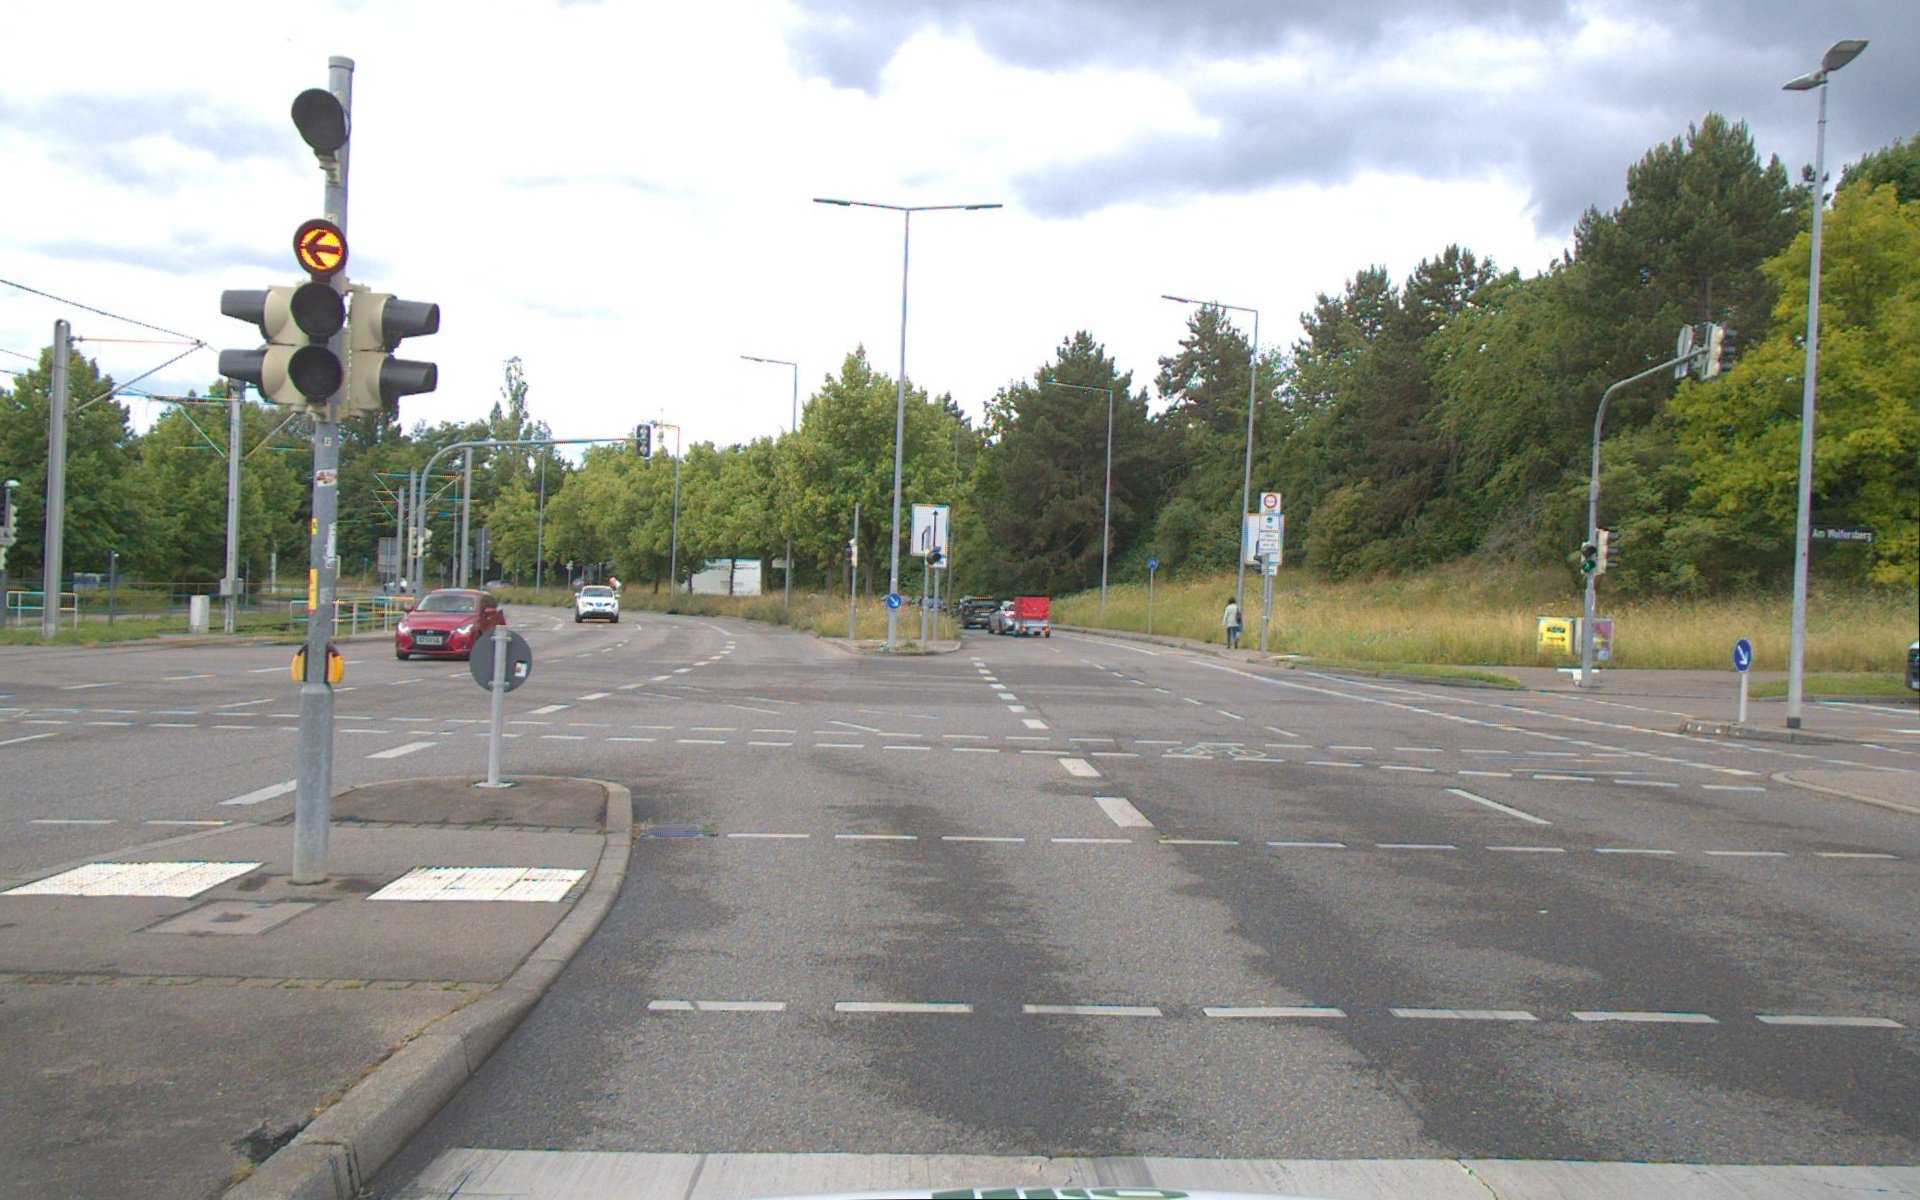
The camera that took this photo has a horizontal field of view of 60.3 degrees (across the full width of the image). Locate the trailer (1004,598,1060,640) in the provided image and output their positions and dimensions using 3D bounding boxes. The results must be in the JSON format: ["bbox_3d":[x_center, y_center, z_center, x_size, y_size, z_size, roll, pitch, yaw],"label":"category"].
[{"bbox_3d":[2.958,0.763,68.534,1.732,1.644,3.038,1,0,-9],"label":"trailer"}]

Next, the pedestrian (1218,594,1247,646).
[{"bbox_3d":[8.831,0.640,53.627,0.797,1.656,0.790,1,0,-1],"label":"pedestrian"}]

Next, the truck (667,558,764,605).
[{"bbox_3d":[-18.882,-1.458,126.895,2.716,3.387,11.269,1,0,-34],"label":"truck"}]

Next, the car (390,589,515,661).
[{"bbox_3d":[-10.950,0.500,35.968,1.746,1.468,4.420,0,0,-6],"label":"car"}]

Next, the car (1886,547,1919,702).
[{"bbox_3d":[20.337,0.466,30.096,5.772,2.830,2.135,0,0,-1],"label":"car"}]

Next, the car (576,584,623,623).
[{"bbox_3d":[-15.616,0.143,71.725,1.795,1.657,4.415,0,0,-10],"label":"car"}]

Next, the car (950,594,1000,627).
[{"bbox_3d":[0.732,0.521,82.832,1.746,1.573,4.014,1,0,-11],"label":"car"}]

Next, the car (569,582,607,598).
[{"bbox_3d":[-38.088,-1.025,169.385,1.742,1.573,4.024,1,0,22],"label":"car"}]

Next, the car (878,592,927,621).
[{"bbox_3d":[-3.472,0.358,98.994,1.752,1.573,4.001,-1,2,-21],"label":"car"}]

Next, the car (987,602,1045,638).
[{"bbox_3d":[2.407,0.835,72.229,1.745,1.446,4.450,1,0,-8],"label":"car"}]

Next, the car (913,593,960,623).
[{"bbox_3d":[-1.350,0.421,92.081,1.748,1.573,4.010,1,0,-14],"label":"car"}]
